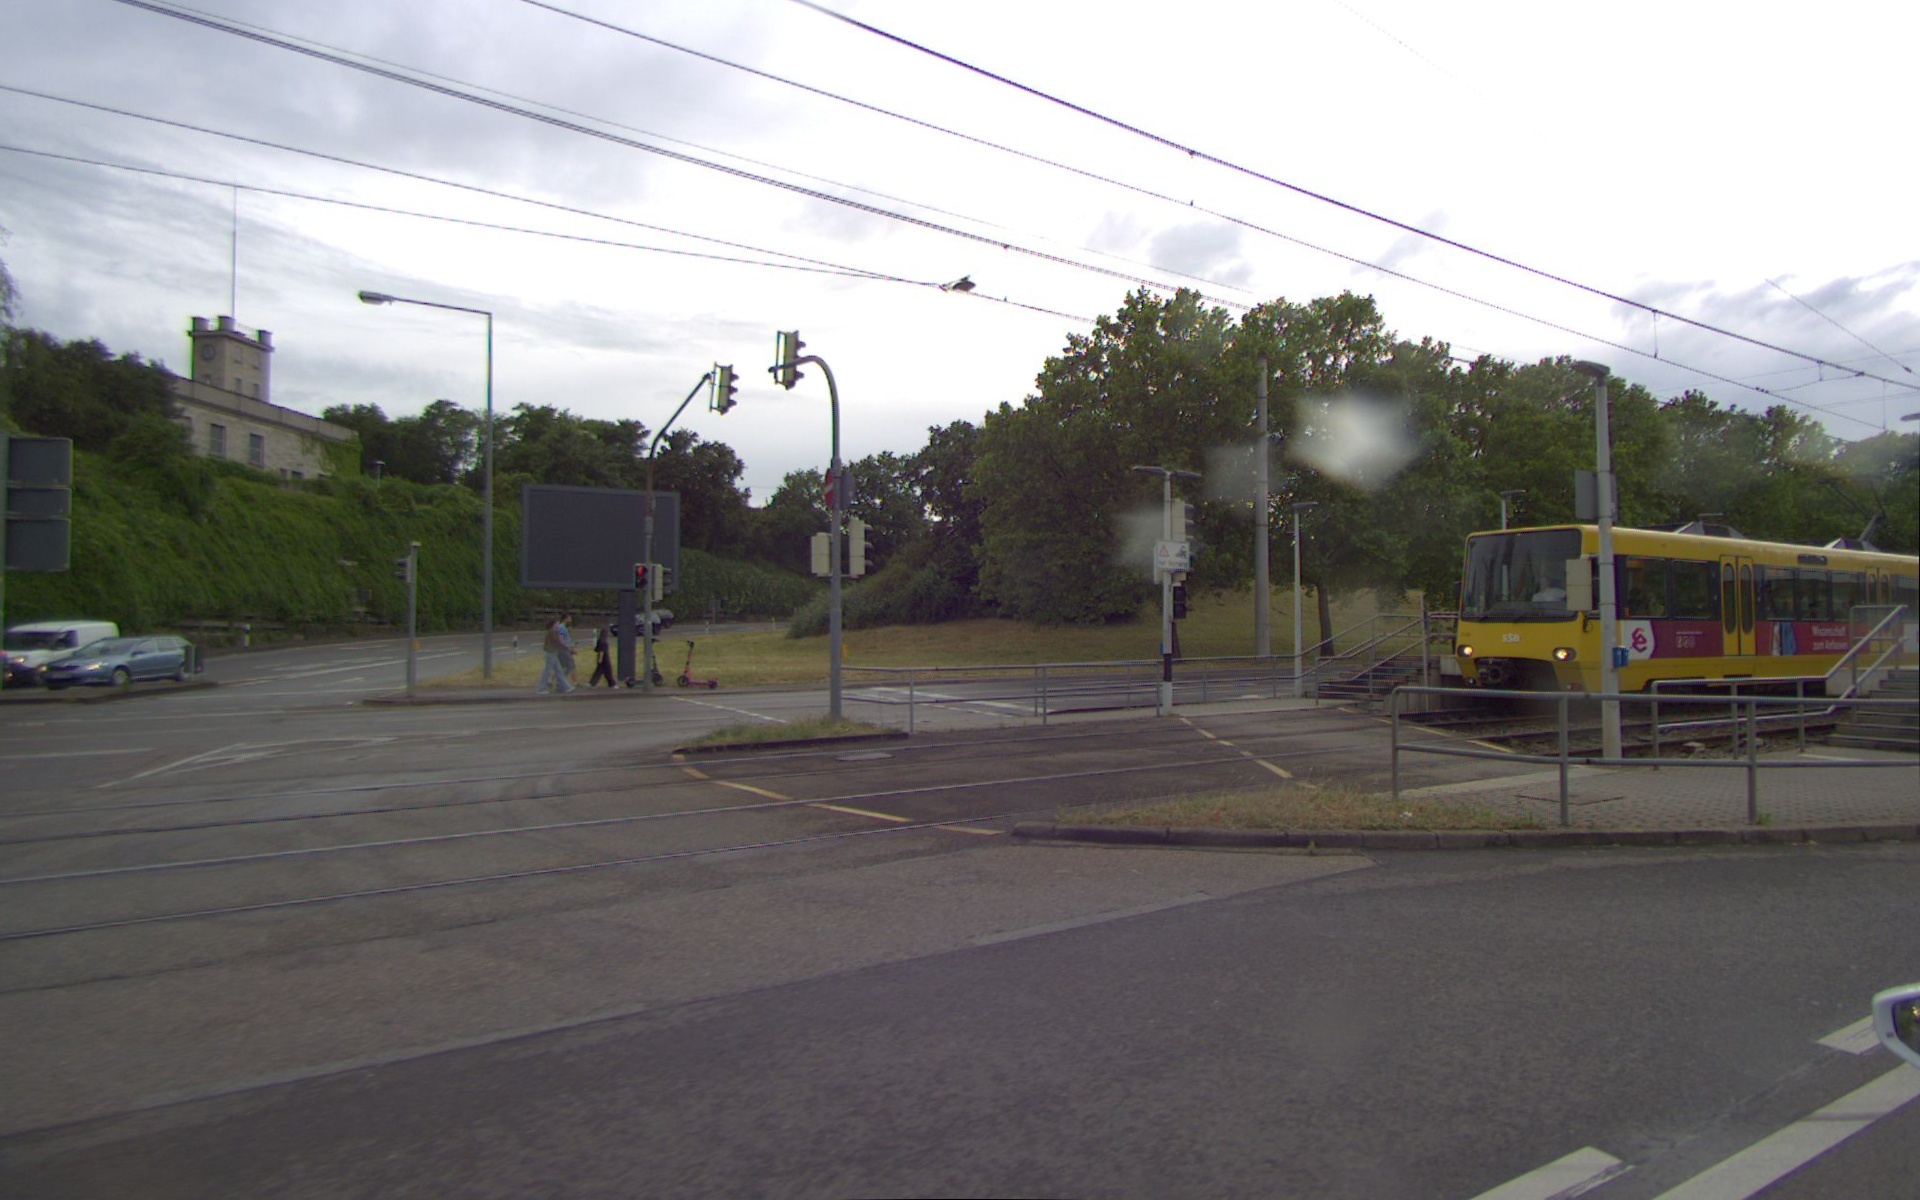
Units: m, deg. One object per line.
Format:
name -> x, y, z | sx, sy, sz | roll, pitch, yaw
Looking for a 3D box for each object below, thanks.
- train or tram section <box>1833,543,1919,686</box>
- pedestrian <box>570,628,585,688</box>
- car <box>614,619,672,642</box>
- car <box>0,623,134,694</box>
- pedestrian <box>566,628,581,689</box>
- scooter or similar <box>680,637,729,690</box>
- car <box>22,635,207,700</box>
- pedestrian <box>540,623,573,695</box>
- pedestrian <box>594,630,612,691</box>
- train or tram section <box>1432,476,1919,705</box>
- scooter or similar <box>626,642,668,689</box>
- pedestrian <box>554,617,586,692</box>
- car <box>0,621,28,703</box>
train or tram section -> 35.043, 0.673, 33.056 | 19.088, 4.006, 2.856 | 2, 0, -28
pedestrian -> -9.955, 1.504, 26.120 | 0.303, 1.539, 0.231 | 2, 0, -29
car -> -23.021, 2.203, 72.959 | 3.826, 1.594, 1.890 | 0, -2, -12
car -> -27.965, 1.735, 30.873 | 1.963, 1.905, 4.329 | 2, 0, -8
pedestrian -> -9.936, 1.504, 25.828 | 0.303, 1.539, 0.309 | 2, 0, -29
scooter or similar -> -6.725, 1.663, 26.420 | 1.190, 1.381, 0.411 | -1, -1, 14
car -> -23.792, 1.846, 28.521 | 1.963, 1.528, 4.329 | 2, 0, -8
pedestrian -> -9.482, 1.373, 23.598 | 0.624, 1.649, 0.408 | 2, 0, -29
pedestrian -> -9.116, 1.537, 25.661 | 0.350, 1.540, 0.347 | 2, 0, -29
train or tram section -> 18.488, 0.088, 23.741 | 19.103, 4.026, 2.854 | 2, 0, -30
scooter or similar -> -8.275, 1.715, 26.602 | 0.374, 1.188, 1.141 | -1, -2, 28
pedestrian -> -9.403, 1.308, 24.194 | 0.615, 1.770, 0.498 | 2, 0, -29
car -> -23.636, 1.437, 21.716 | 1.960, 1.905, 5.172 | 2, 0, 2
